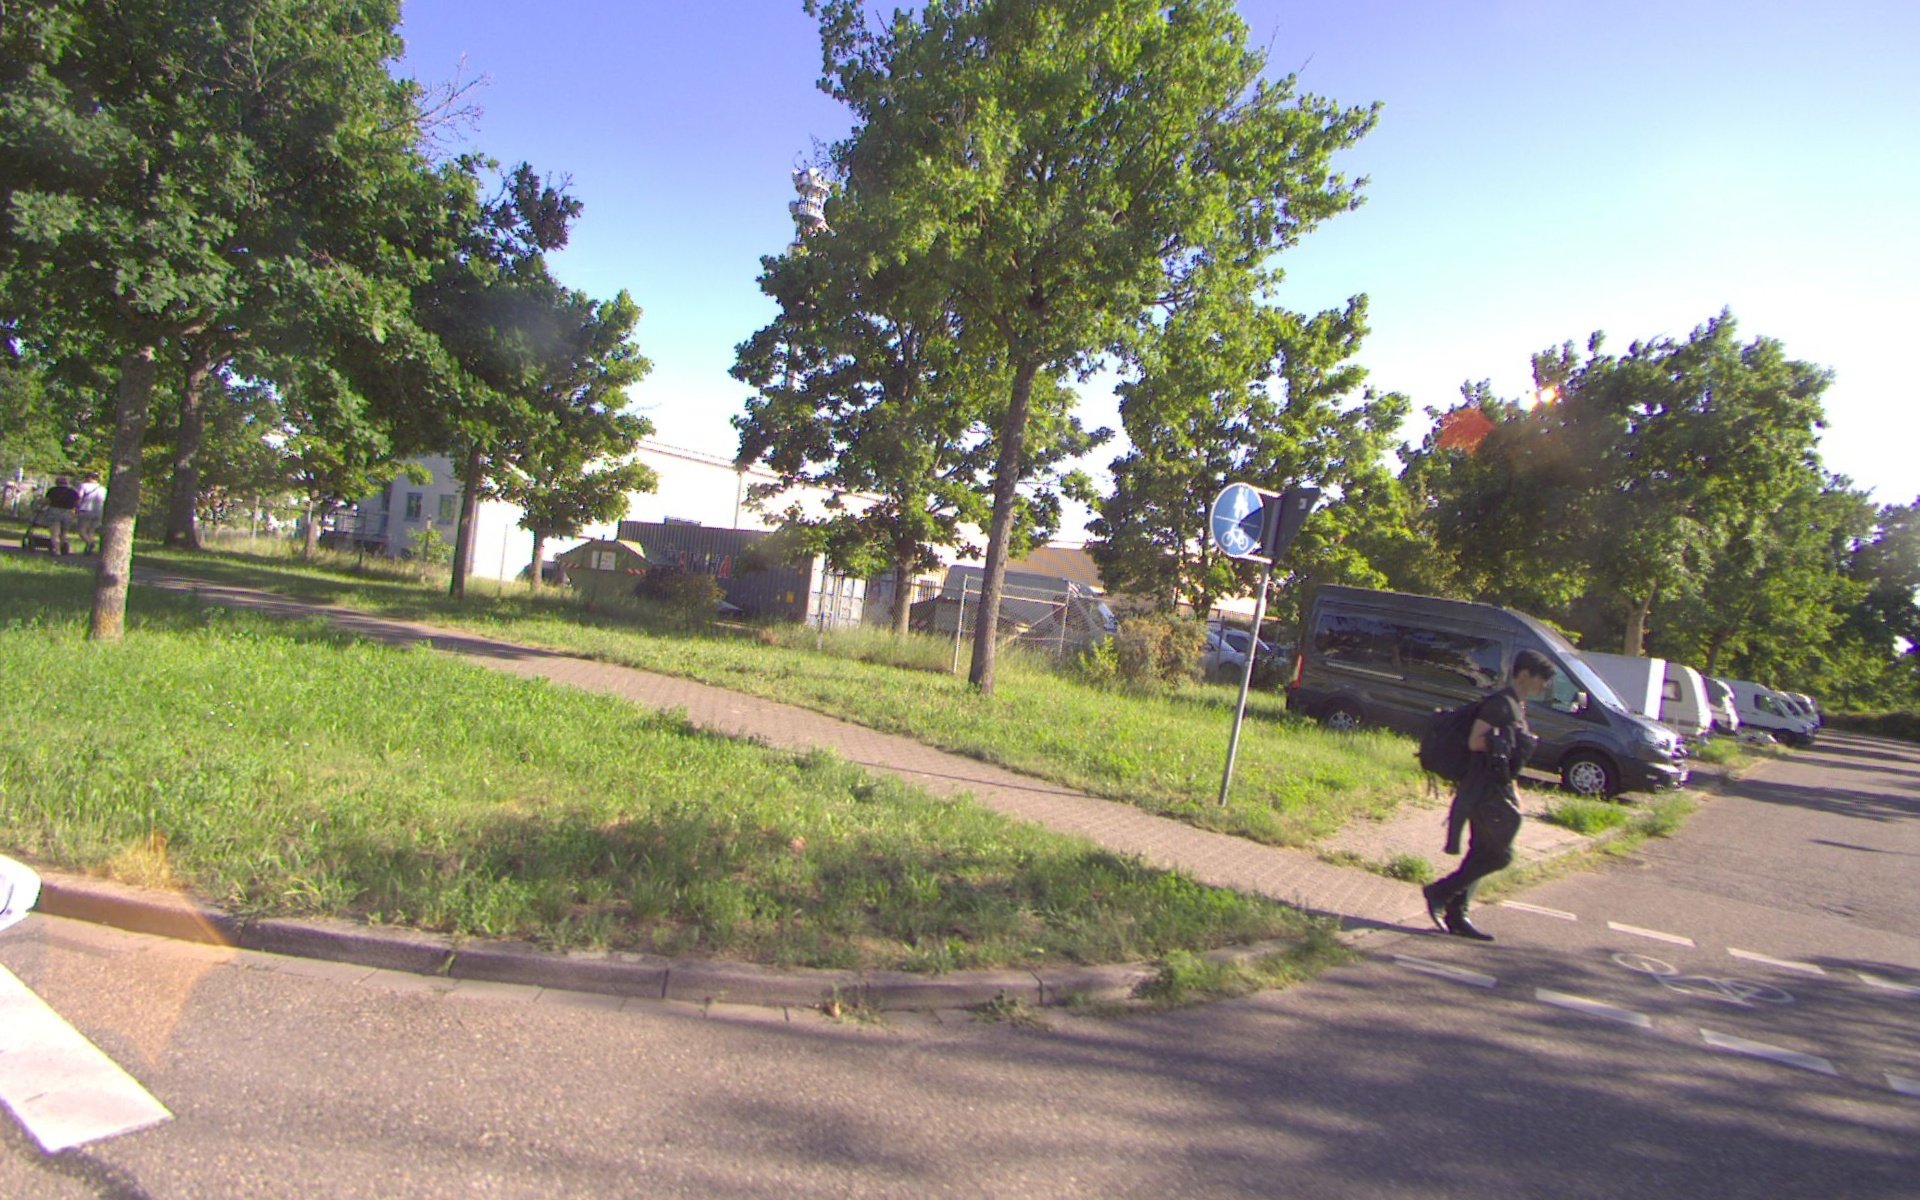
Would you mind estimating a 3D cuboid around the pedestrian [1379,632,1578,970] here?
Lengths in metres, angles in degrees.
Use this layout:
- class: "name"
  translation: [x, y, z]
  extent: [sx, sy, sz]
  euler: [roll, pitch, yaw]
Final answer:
- class: "pedestrian"
  translation: [3.201, 1.168, 6.220]
  extent: [0.853, 1.835, 0.726]
  euler: [7, 1, 31]

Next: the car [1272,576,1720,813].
- class: "car"
  translation: [8.564, 1.378, 16.607]
  extent: [5.889, 2.597, 2.081]
  euler: [11, 1, 43]

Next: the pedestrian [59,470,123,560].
- class: "pedestrian"
  translation: [-18.412, -1.787, 21.306]
  extent: [0.853, 1.779, 0.726]
  euler: [7, 3, 31]

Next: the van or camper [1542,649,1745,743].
- class: "van or camper"
  translation: [25.585, 3.551, 37.844]
  extent: [5.840, 2.607, 2.176]
  euler: [7, 0, 44]

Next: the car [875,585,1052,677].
- class: "car"
  translation: [0.073, 0.737, 23.832]
  extent: [3.537, 1.685, 2.008]
  euler: [7, 1, 32]

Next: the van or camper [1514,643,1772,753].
- class: "van or camper"
  translation: [22.722, 3.196, 33.764]
  extent: [6.688, 2.607, 2.176]
  euler: [7, 0, 44]

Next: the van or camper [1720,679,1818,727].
- class: "van or camper"
  translation: [61.711, 7.810, 76.803]
  extent: [5.516, 2.799, 2.397]
  euler: [7, 0, 43]

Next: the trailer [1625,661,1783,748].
- class: "trailer"
  translation: [28.738, 3.990, 38.948]
  extent: [4.577, 2.607, 2.178]
  euler: [7, 1, 40]

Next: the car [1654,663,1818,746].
- class: "car"
  translation: [35.444, 4.764, 46.041]
  extent: [5.601, 2.944, 2.332]
  euler: [6, -2, 41]

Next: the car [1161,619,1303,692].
- class: "car"
  translation: [9.010, 1.835, 33.427]
  extent: [3.941, 1.846, 1.992]
  euler: [7, 1, 39]

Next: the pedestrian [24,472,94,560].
- class: "pedestrian"
  translation: [-18.066, -1.676, 20.173]
  extent: [0.853, 1.623, 0.726]
  euler: [7, 1, 31]

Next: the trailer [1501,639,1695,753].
- class: "trailer"
  translation: [16.625, 2.462, 26.306]
  extent: [3.739, 2.336, 2.184]
  euler: [7, 0, 44]

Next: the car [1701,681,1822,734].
- class: "car"
  translation: [48.744, 6.522, 61.276]
  extent: [5.496, 2.442, 2.195]
  euler: [6, -2, 41]

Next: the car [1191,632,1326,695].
- class: "car"
  translation: [10.408, 2.206, 35.184]
  extent: [3.941, 1.612, 1.992]
  euler: [7, 0, 39]

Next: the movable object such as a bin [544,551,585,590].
- class: "movable object such as a bin"
  translation: [-16.320, -1.217, 41.511]
  extent: [1.181, 1.424, 1.046]
  euler: [6, 1, -42]

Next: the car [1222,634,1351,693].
- class: "car"
  translation: [11.963, 2.322, 36.936]
  extent: [3.941, 1.612, 1.992]
  euler: [7, 0, 39]

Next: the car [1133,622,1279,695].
- class: "car"
  translation: [7.495, 1.776, 30.974]
  extent: [1.825, 1.660, 3.958]
  euler: [6, 0, -38]

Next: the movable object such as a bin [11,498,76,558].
- class: "movable object such as a bin"
  translation: [-18.814, -1.475, 20.649]
  extent: [0.853, 1.095, 0.726]
  euler: [7, 3, 31]

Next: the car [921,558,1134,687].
- class: "car"
  translation: [1.703, 0.546, 25.948]
  extent: [4.770, 2.676, 2.162]
  euler: [7, 1, 32]
